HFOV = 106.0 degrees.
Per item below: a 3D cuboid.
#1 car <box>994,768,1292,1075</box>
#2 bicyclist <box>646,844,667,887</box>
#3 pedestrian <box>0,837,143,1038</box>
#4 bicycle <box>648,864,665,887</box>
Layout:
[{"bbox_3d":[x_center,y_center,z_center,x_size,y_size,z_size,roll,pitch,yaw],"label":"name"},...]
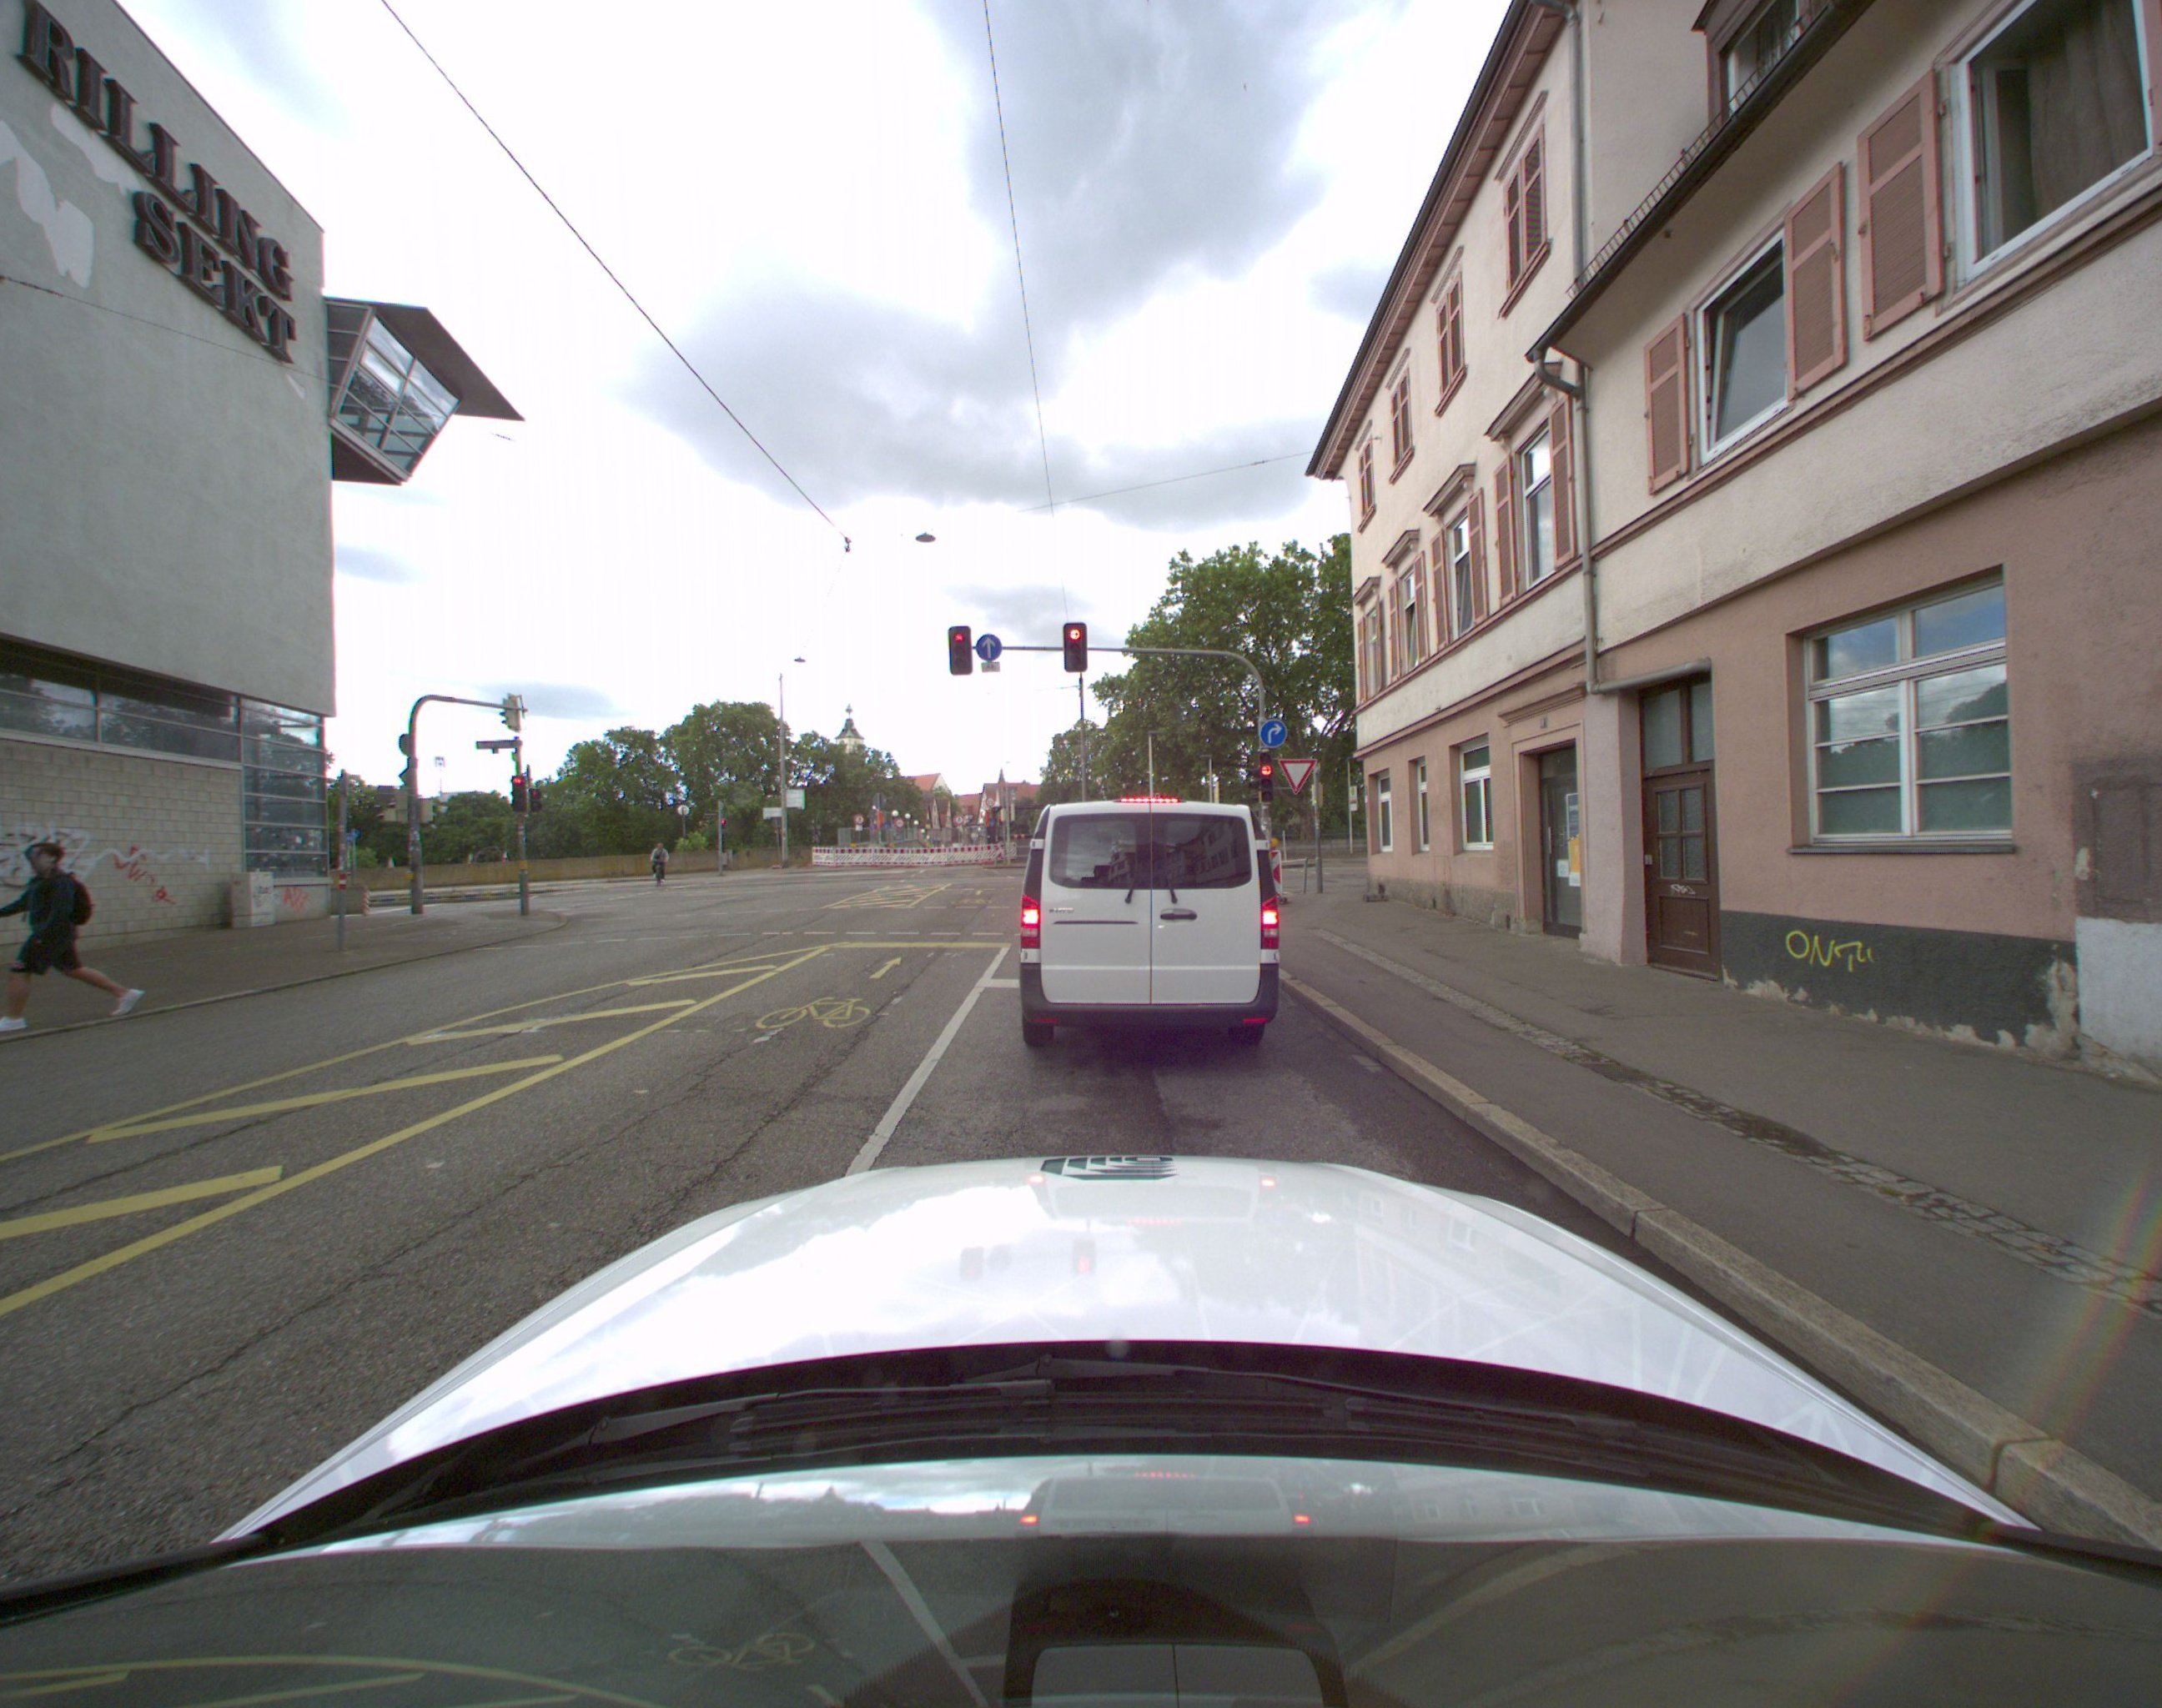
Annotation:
[{"bbox_3d":[0.484,0.392,7.706,1.943,2.013,4.700,0,1,2],"label":"car"},{"bbox_3d":[-17.497,0.471,33.574,0.727,1.701,0.804,-2,0,-26],"label":"bicyclist"},{"bbox_3d":[-10.394,0.781,8.269,1.044,1.886,1.098,1,2,41],"label":"pedestrian"},{"bbox_3d":[-17.478,0.886,33.566,0.544,0.892,1.864,-2,0,-27],"label":"bicycle"}]
